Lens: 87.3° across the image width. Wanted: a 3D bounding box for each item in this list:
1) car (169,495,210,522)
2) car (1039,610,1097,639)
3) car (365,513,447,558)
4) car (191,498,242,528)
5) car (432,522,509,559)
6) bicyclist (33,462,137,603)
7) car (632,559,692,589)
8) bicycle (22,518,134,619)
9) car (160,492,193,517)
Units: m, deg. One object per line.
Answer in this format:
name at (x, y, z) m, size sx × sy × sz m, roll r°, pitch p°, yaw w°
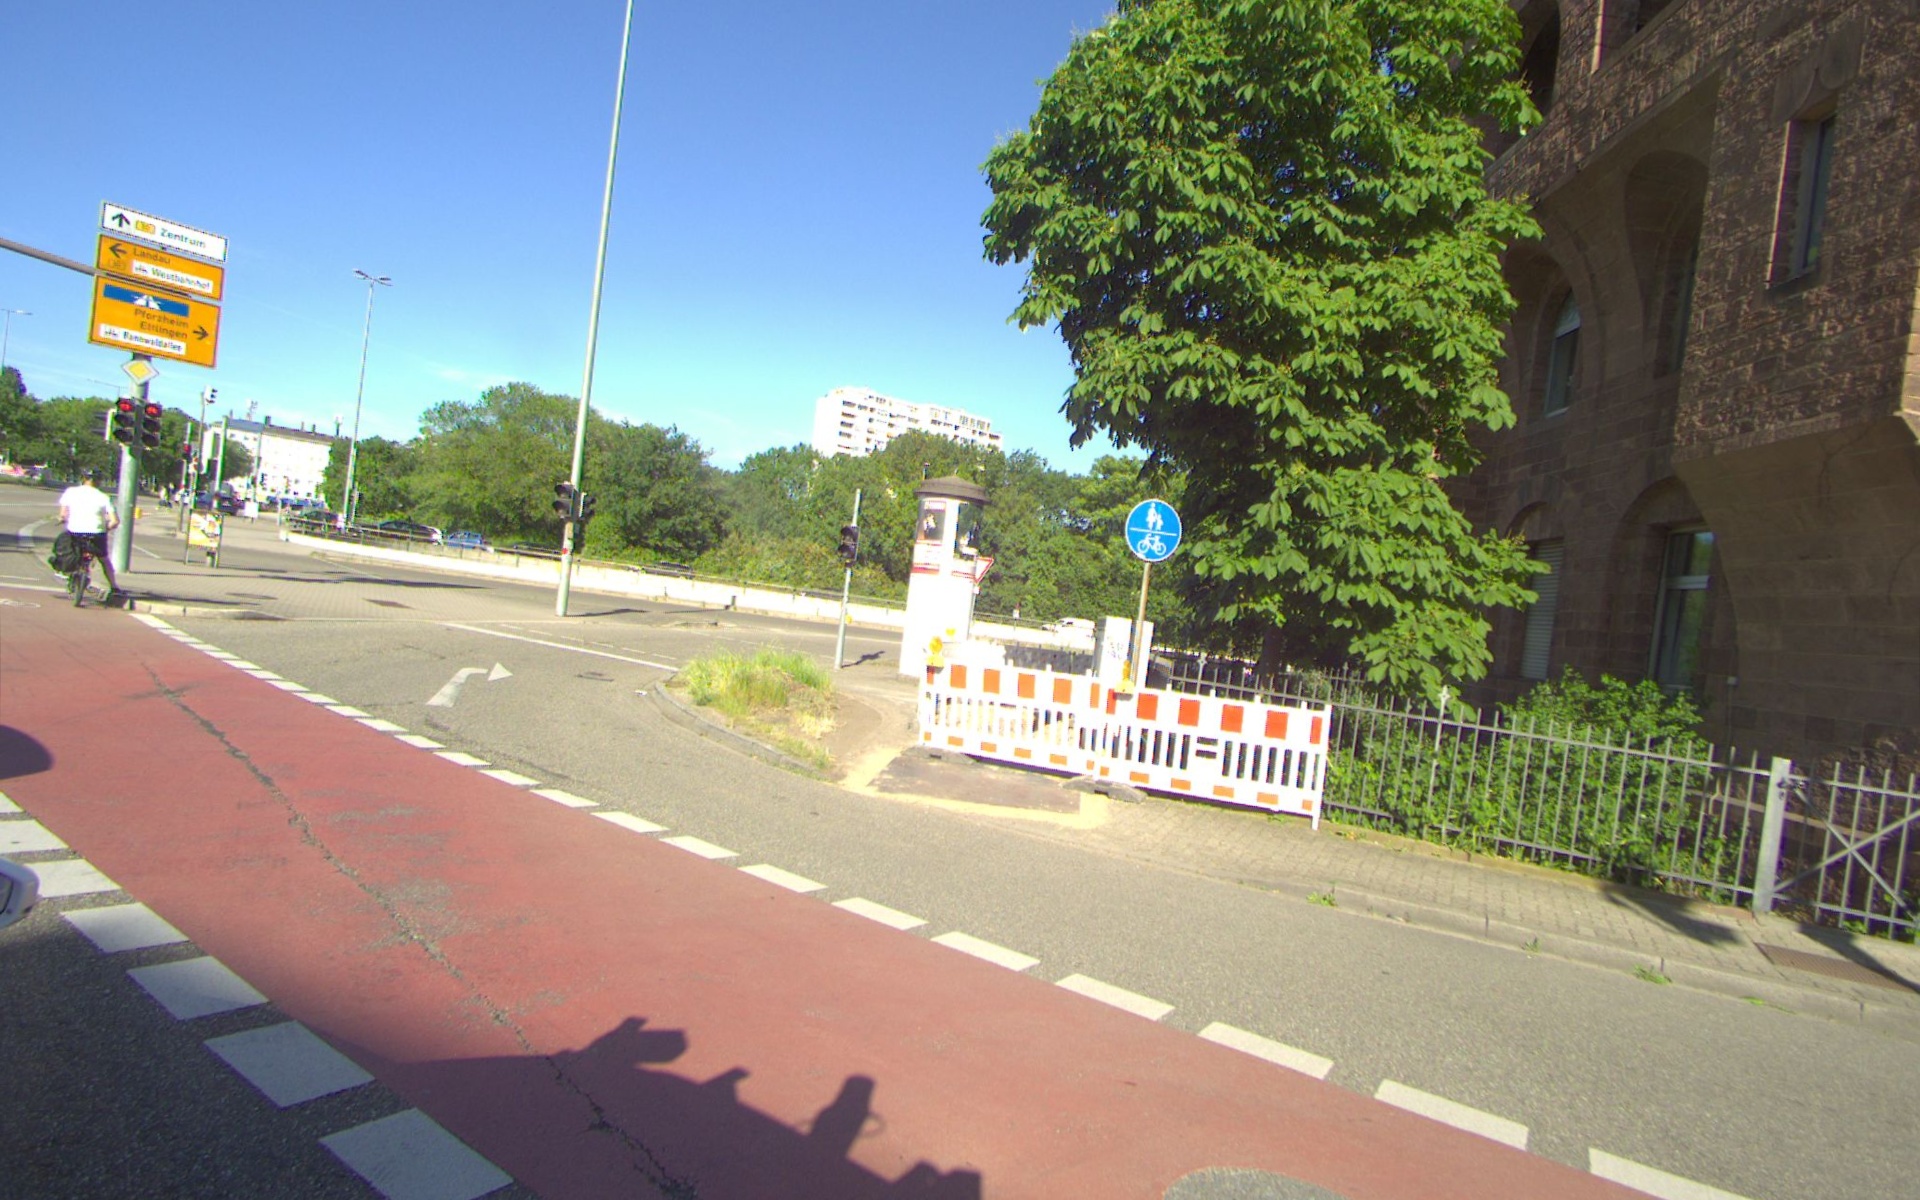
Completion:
car at (-61.941, -7.303, 80.844) m, size 3.950 × 1.770 × 1.989 m, roll 4°, pitch -2°, yaw 45°
car at (8.333, 1.911, 77.771) m, size 3.946 × 1.638 × 1.719 m, roll 8°, pitch 1°, yaw -22°
car at (-33.564, -3.889, 61.084) m, size 3.943 × 2.037 × 1.992 m, roll 7°, pitch -2°, yaw -20°
car at (-55.634, -6.472, 75.230) m, size 4.820 × 1.876 × 2.010 m, roll 4°, pitch -2°, yaw 42°
car at (-33.479, -4.056, 68.971) m, size 4.188 × 1.876 × 2.017 m, roll 6°, pitch -2°, yaw -10°
bicyclist at (-11.765, -0.900, 13.571) m, size 0.795 × 1.725 × 1.074 m, roll 8°, pitch 0°, yaw -36°
car at (-21.531, -1.878, 72.673) m, size 3.944 × 1.638 × 1.720 m, roll 8°, pitch 1°, yaw -20°
bicycle at (-11.776, -0.461, 13.505) m, size 0.795 × 1.124 × 2.378 m, roll 8°, pitch 0°, yaw -36°
car at (-72.302, -8.779, 92.866) m, size 1.981 × 1.770 × 3.965 m, roll 7°, pitch -2°, yaw -34°
